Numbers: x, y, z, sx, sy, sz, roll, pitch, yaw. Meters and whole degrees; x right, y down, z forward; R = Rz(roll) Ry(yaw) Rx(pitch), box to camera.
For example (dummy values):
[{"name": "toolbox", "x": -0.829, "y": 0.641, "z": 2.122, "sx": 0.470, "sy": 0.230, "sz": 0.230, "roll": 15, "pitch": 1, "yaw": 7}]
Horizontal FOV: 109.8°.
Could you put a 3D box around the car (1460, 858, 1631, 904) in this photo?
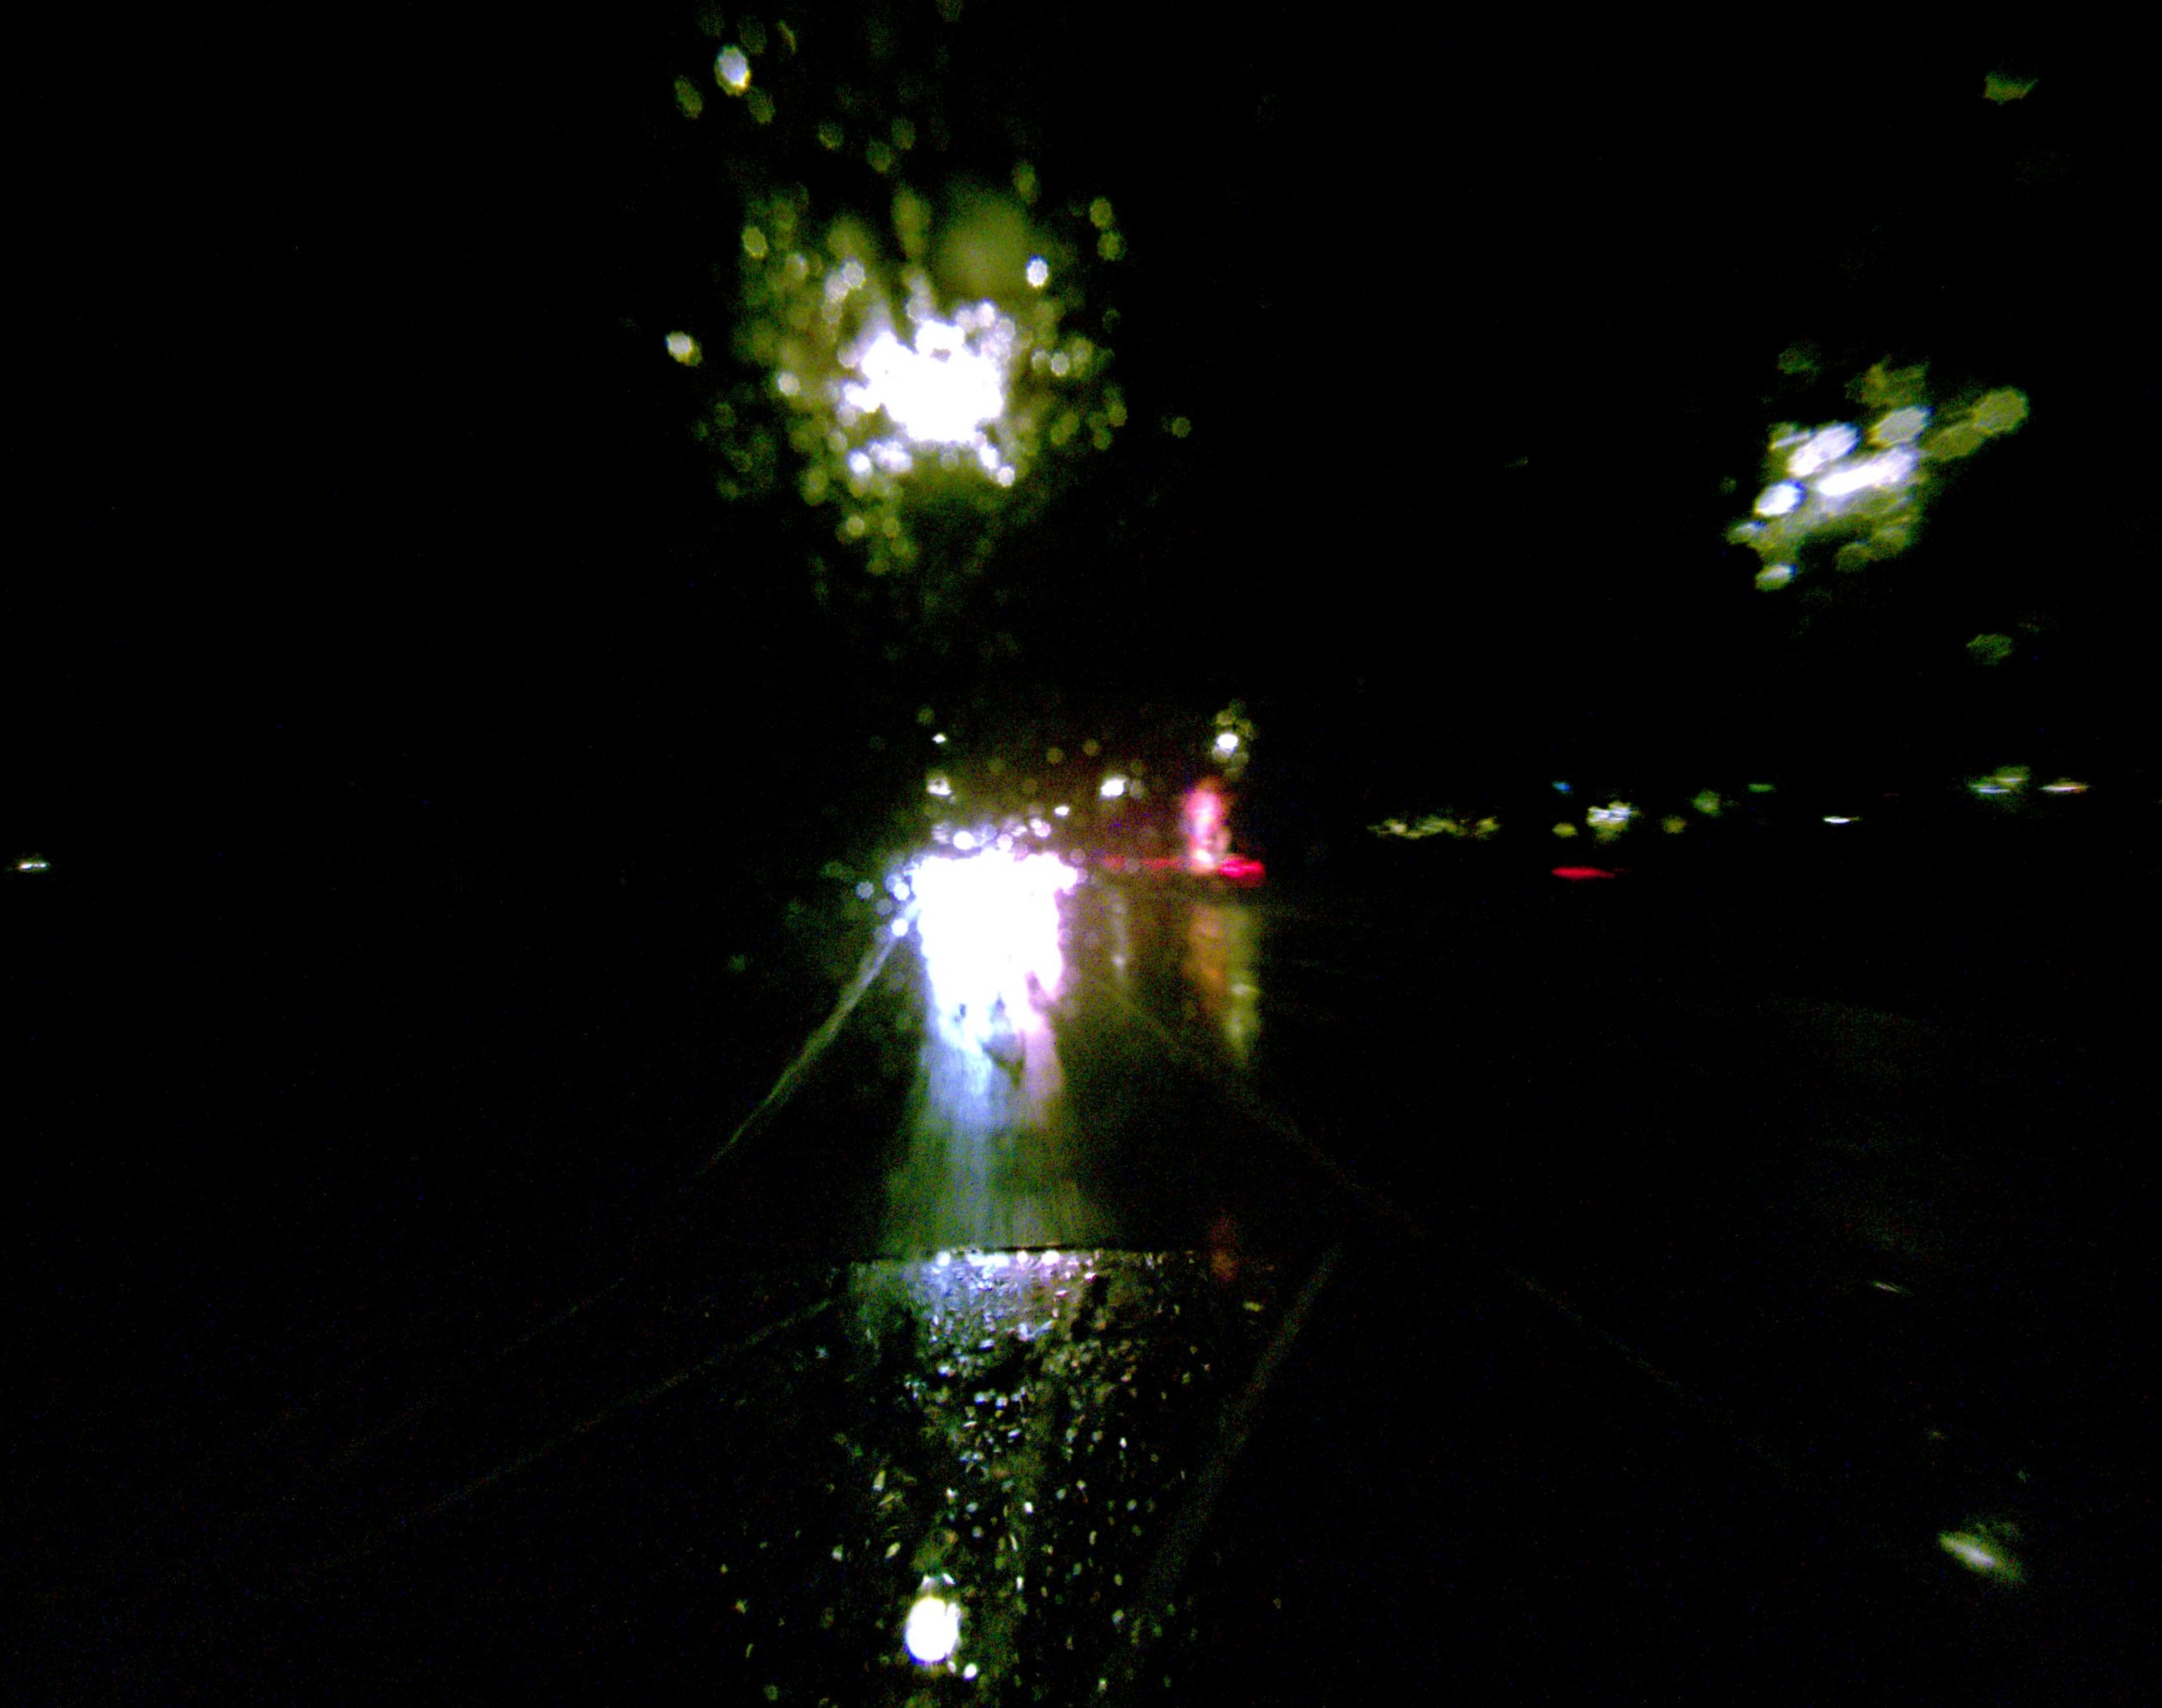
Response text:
[{"name": "car", "x": 16.037, "y": 0.879, "z": 26.692, "sx": 2.000, "sy": 1.394, "sz": 5.345, "roll": -2, "pitch": 0, "yaw": -11}]

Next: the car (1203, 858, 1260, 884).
[{"name": "car", "x": 9.308, "y": 1.024, "z": 47.375, "sx": 1.835, "sy": 1.455, "sz": 4.655, "roll": -2, "pitch": 0, "yaw": -12}]

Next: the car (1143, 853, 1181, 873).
[{"name": "car", "x": 6.446, "y": 0.715, "z": 61.218, "sx": 1.835, "sy": 1.455, "sz": 3.996, "roll": -2, "pitch": 0, "yaw": -12}]

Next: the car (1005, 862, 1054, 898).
[{"name": "car", "x": -2.561, "y": 1.186, "z": 36.508, "sx": 1.835, "sy": 1.518, "sz": 4.870, "roll": -2, "pitch": 0, "yaw": -9}]

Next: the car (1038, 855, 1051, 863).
[{"name": "car", "x": -7.666, "y": 1.064, "z": 160.270, "sx": 2.031, "sy": 1.674, "sz": 4.544, "roll": -2, "pitch": 0, "yaw": -10}]

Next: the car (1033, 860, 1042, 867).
[{"name": "car", "x": -10.825, "y": 2.317, "z": 188.124, "sx": 1.849, "sy": 1.583, "sz": 4.362, "roll": -2, "pitch": 0, "yaw": -8}]

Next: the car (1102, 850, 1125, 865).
[{"name": "car", "x": 4.009, "y": 0.462, "z": 93.905, "sx": 1.835, "sy": 1.703, "sz": 4.437, "roll": -2, "pitch": 0, "yaw": -10}]

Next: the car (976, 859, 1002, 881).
[{"name": "car", "x": -7.534, "y": 1.299, "z": 62.122, "sx": 1.835, "sy": 1.696, "sz": 4.191, "roll": -2, "pitch": 0, "yaw": -10}]

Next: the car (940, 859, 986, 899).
[{"name": "car", "x": -5.666, "y": 1.124, "z": 36.298, "sx": 1.952, "sy": 1.709, "sz": 4.438, "roll": -2, "pitch": 0, "yaw": -10}]

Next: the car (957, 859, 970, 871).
[{"name": "car", "x": -18.030, "y": 1.702, "z": 116.329, "sx": 1.835, "sy": 1.696, "sz": 3.945, "roll": -2, "pitch": 0, "yaw": -10}]

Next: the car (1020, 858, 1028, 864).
[{"name": "car", "x": -15.941, "y": 1.825, "z": 211.993, "sx": 1.849, "sy": 1.583, "sz": 4.362, "roll": -2, "pitch": 0, "yaw": -8}]
